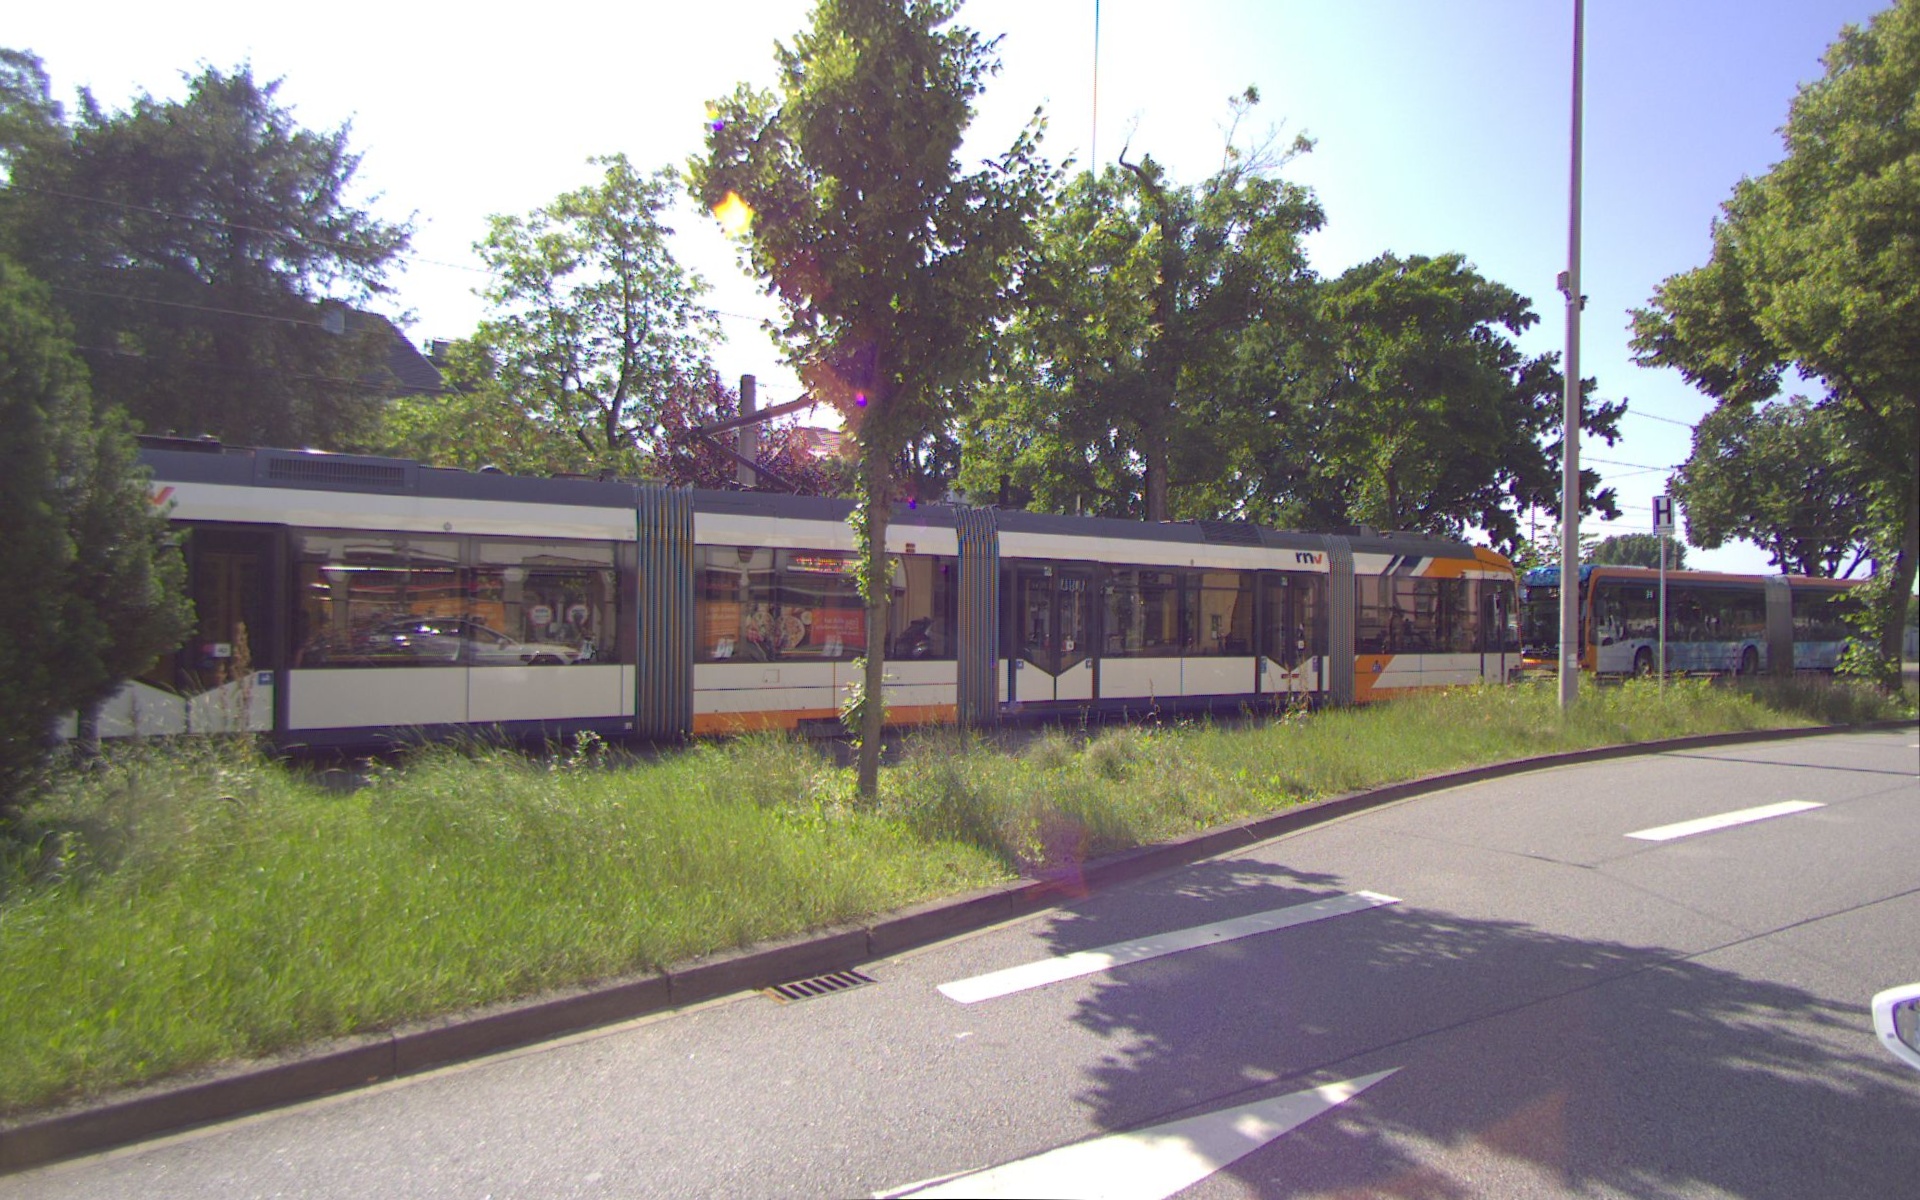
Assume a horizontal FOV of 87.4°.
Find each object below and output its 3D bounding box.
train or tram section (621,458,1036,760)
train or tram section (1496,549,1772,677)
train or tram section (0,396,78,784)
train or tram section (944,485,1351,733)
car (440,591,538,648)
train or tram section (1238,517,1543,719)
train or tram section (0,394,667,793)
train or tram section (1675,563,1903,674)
[{"bbox_3d":[-1.876,0.159,14.531,5.292,3.629,2.602,2,1,-29],"label":"train or tram section"},{"bbox_3d":[21.691,0.486,32.117,9.904,3.629,2.812,2,1,-27],"label":"train or tram section"},{"bbox_3d":[-12.052,-0.180,8.761,6.030,3.629,2.602,2,1,-29],"label":"train or tram section"},{"bbox_3d":[3.367,0.201,17.505,6.815,3.629,2.601,2,1,-29],"label":"train or tram section"},{"bbox_3d":[-29.242,1.228,62.417,5.355,3.360,2.117,2,1,-30],"label":"car"},{"bbox_3d":[8.901,0.387,20.663,5.945,3.629,2.601,2,1,-29],"label":"train or tram section"},{"bbox_3d":[-6.811,0.004,11.734,6.030,3.629,2.601,2,1,-29],"label":"train or tram section"},{"bbox_3d":[29.800,0.706,36.072,8.108,3.629,2.816,2,1,-23],"label":"train or tram section"}]
